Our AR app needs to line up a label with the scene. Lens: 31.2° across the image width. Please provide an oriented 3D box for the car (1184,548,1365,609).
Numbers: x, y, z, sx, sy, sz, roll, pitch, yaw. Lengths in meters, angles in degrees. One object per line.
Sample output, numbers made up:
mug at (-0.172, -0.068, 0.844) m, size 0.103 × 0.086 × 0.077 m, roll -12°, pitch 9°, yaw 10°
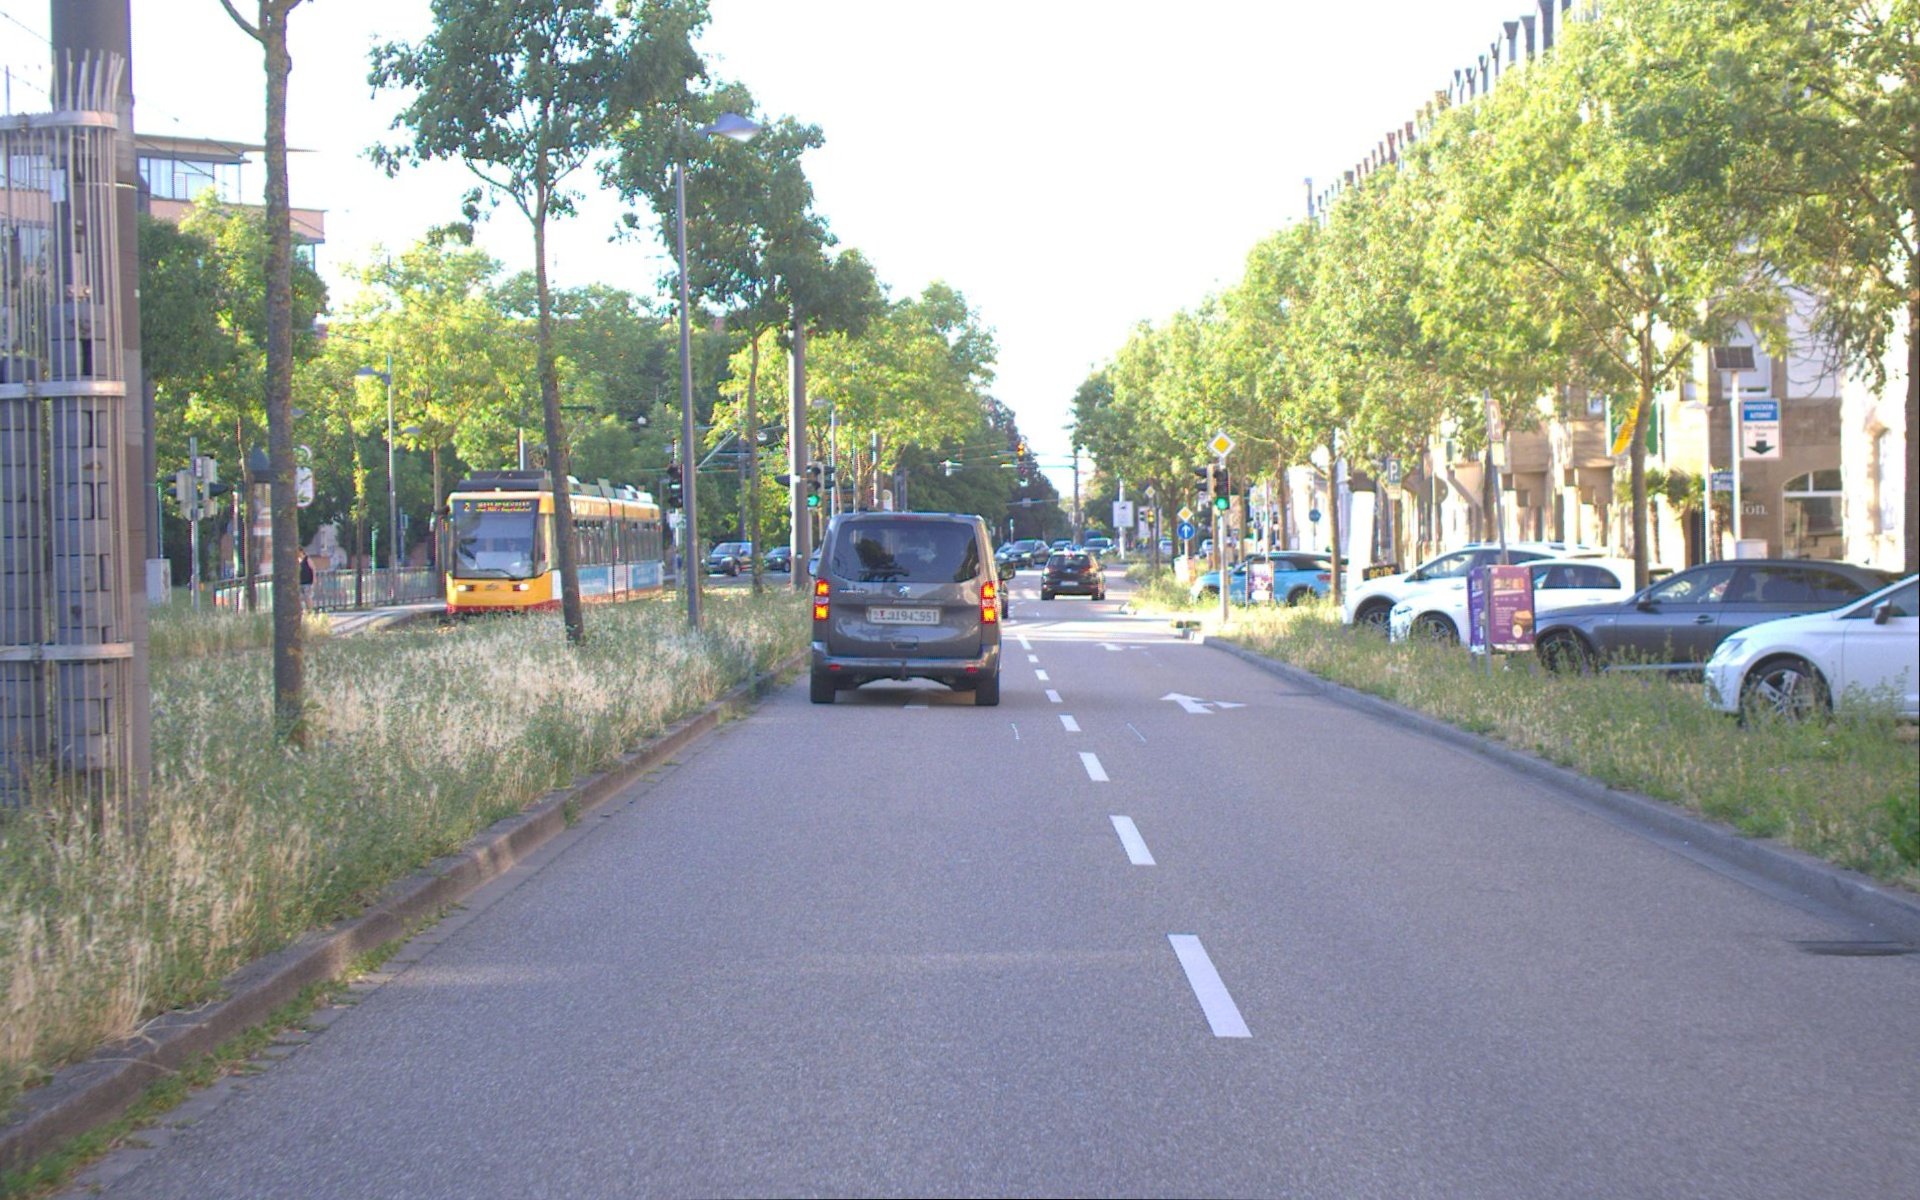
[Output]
car at (8.104, -0.574, 88.685) m, size 4.281 × 1.517 × 1.843 m, roll 1°, pitch 1°, yaw 33°

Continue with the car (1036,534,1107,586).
car at (3.332, -1.218, 103.459) m, size 1.993 × 1.505 × 4.000 m, roll 1°, pitch 1°, yaw 0°

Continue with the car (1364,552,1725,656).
car at (8.147, 0.041, 48.042) m, size 4.548 × 1.395 × 2.027 m, roll 0°, pitch 0°, yaw 31°

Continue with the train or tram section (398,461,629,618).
train or tram section at (-10.470, -1.418, 82.564) m, size 3.431 × 3.418 × 15.028 m, roll 0°, pitch 1°, yaw 1°

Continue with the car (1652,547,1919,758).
car at (7.626, 0.365, 25.249) m, size 4.641 × 1.505 × 1.843 m, roll 0°, pitch 1°, yaw 36°

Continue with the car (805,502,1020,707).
car at (-0.414, 0.012, 34.731) m, size 1.993 × 1.894 × 4.299 m, roll 1°, pitch 1°, yaw 1°

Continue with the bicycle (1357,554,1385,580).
bicycle at (15.578, -1.256, 130.252) m, size 0.872 × 0.913 × 2.084 m, roll -2°, pitch 1°, yaw 2°

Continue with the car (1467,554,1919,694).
car at (7.690, 0.220, 35.151) m, size 4.577 × 1.343 × 1.893 m, roll 0°, pitch 1°, yaw 33°

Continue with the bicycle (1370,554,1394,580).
bicycle at (15.685, -1.232, 127.693) m, size 0.734 × 0.945 × 2.339 m, roll -2°, pitch 1°, yaw 4°

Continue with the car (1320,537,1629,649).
car at (8.074, -0.138, 54.064) m, size 4.427 × 1.685 × 1.912 m, roll 1°, pitch 1°, yaw 36°

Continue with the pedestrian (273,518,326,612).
pedestrian at (-14.278, -0.750, 74.291) m, size 0.934 × 2.007 × 0.957 m, roll 0°, pitch 1°, yaw 1°

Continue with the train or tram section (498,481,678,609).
train or tram section at (-10.320, -1.544, 97.067) m, size 3.431 × 3.328 × 13.858 m, roll 0°, pitch 1°, yaw 1°

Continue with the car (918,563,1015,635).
car at (0.114, -0.036, 76.731) m, size 1.993 × 1.505 × 4.001 m, roll 1°, pitch 1°, yaw -2°
